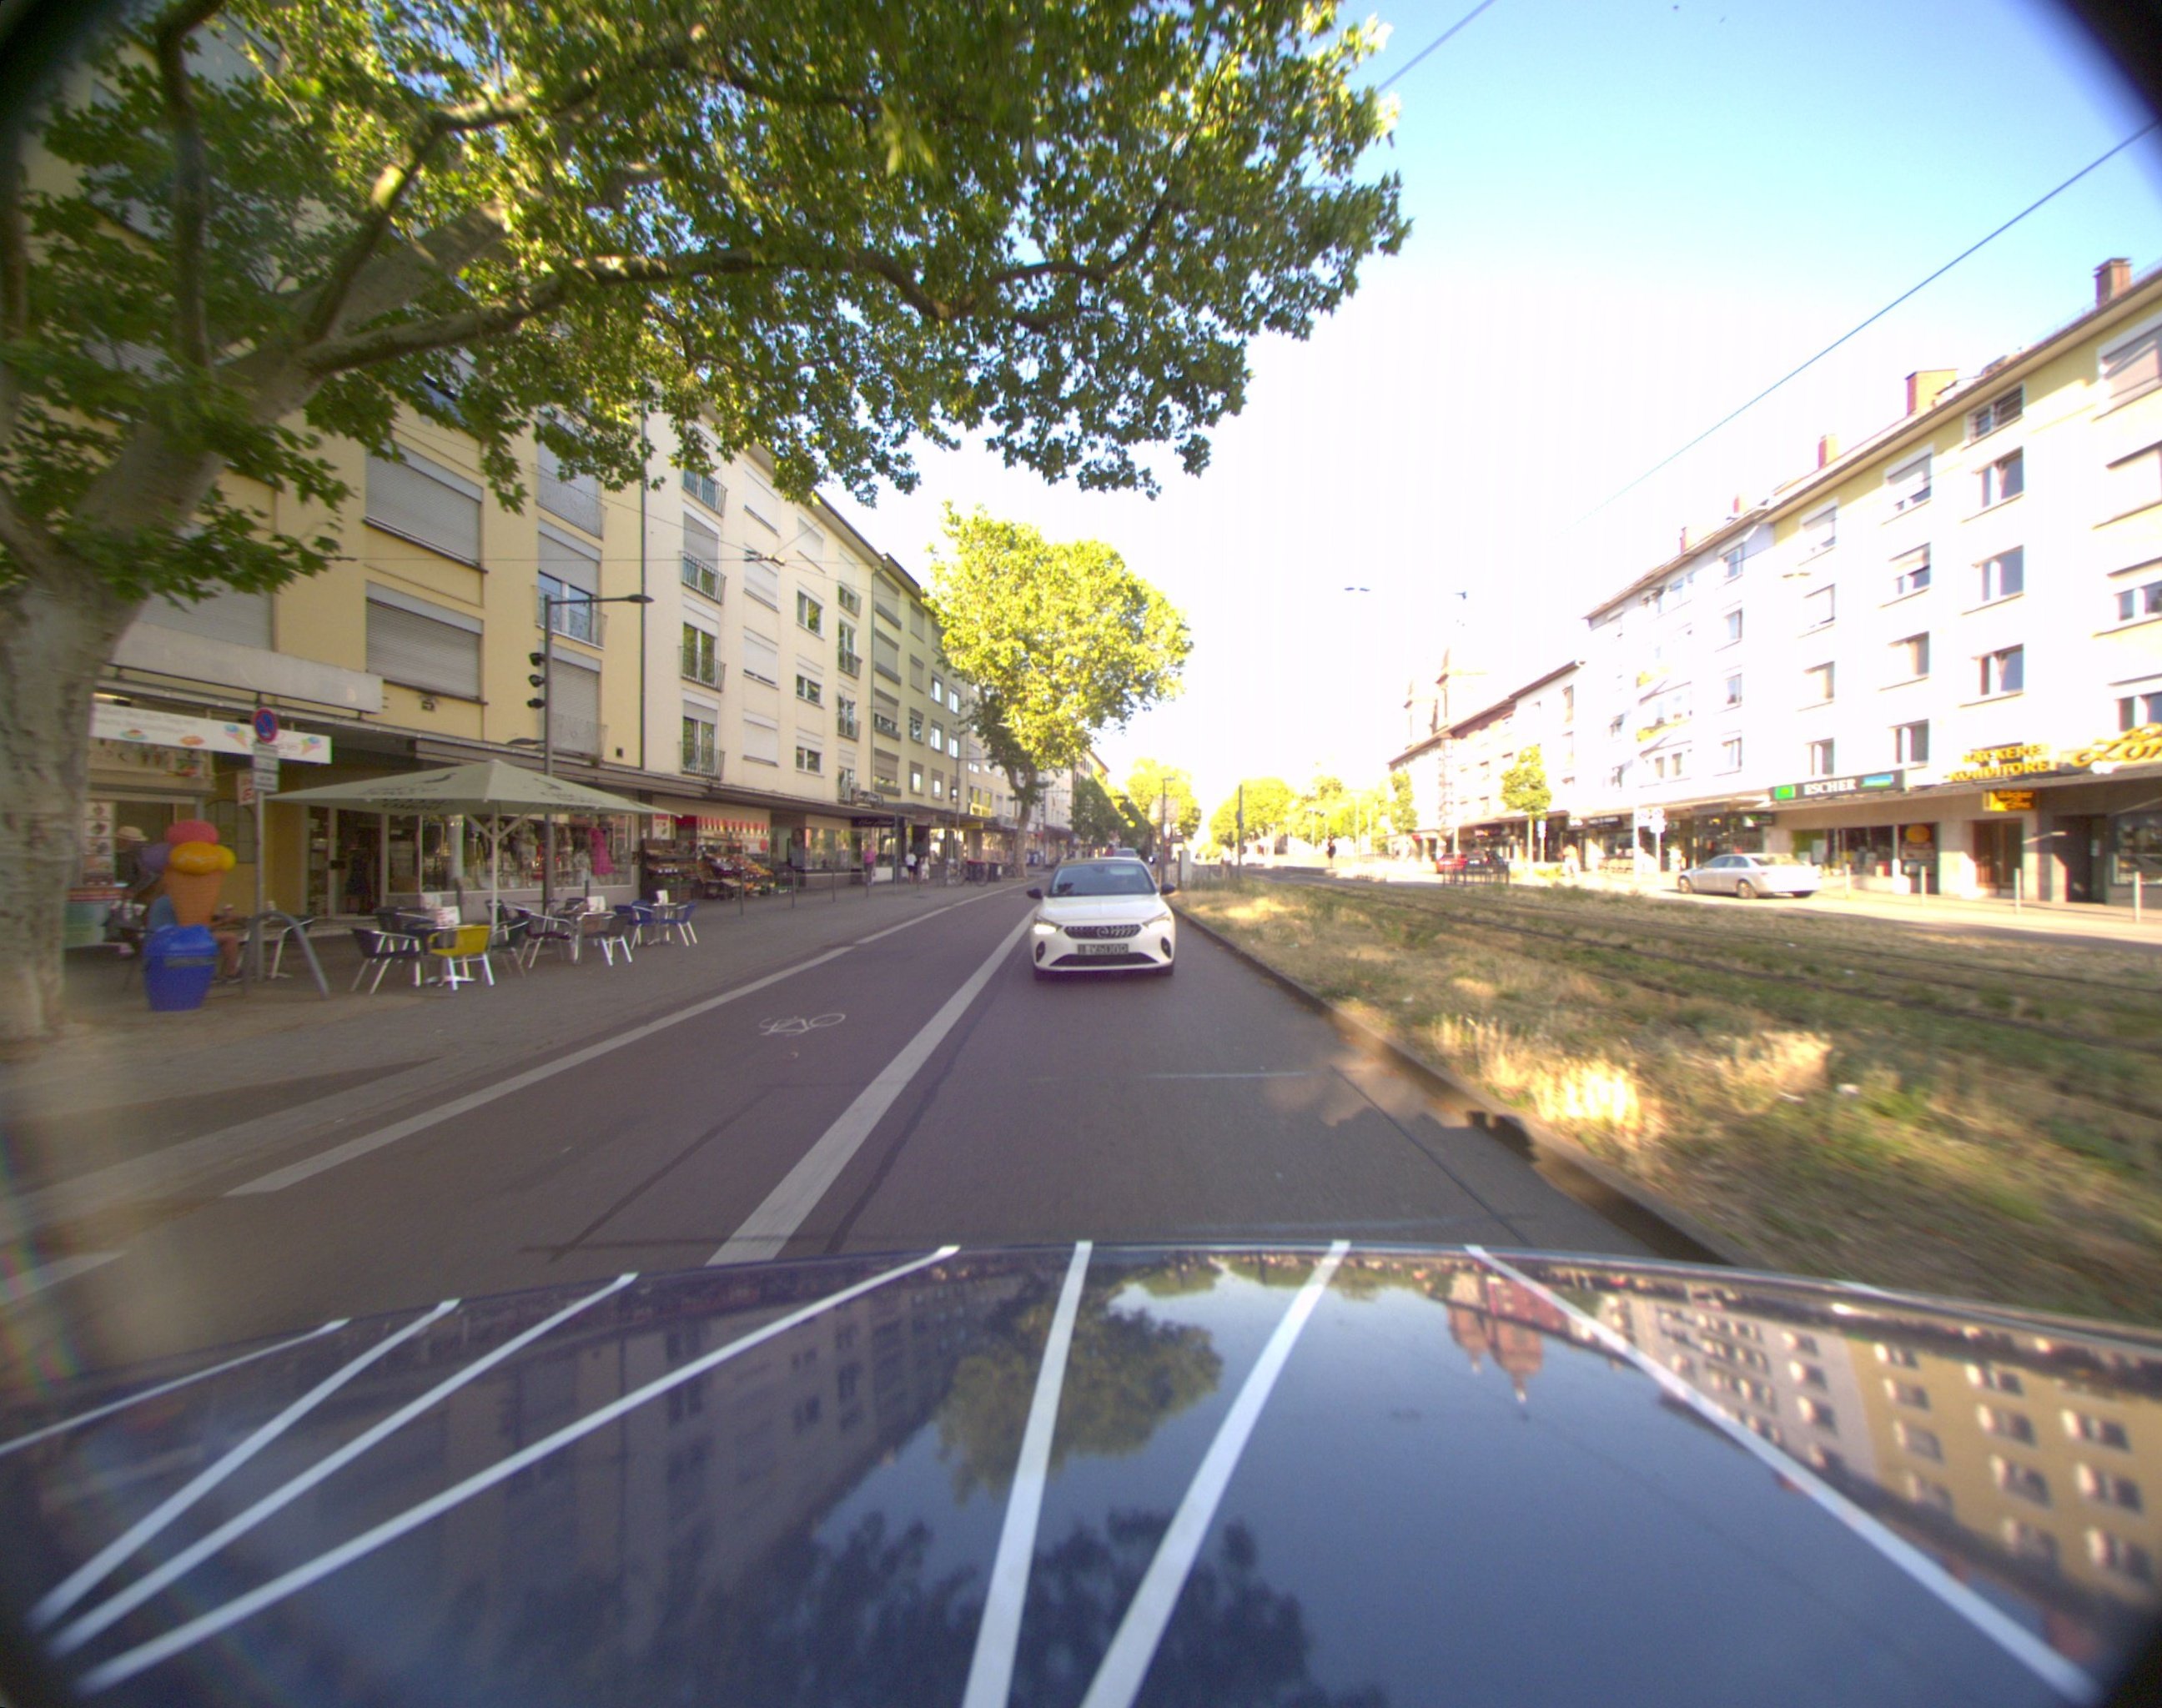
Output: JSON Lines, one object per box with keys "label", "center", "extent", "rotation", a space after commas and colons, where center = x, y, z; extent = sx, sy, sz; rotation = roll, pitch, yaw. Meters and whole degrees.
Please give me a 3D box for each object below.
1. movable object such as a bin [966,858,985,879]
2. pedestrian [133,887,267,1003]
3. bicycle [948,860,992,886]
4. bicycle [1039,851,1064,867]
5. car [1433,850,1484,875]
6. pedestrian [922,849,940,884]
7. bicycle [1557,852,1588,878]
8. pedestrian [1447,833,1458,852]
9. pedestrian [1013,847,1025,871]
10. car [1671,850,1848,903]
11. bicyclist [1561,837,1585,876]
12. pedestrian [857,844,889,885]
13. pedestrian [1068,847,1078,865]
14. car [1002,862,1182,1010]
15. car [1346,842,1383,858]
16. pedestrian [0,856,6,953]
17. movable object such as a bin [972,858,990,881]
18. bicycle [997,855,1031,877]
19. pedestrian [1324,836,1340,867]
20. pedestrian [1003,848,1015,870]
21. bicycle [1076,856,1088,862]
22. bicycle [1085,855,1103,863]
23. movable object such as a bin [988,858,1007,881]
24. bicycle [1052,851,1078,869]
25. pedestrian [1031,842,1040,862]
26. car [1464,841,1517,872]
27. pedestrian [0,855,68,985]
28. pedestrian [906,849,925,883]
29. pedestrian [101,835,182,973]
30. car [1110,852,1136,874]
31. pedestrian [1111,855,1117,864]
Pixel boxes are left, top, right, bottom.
{"label": "movable object such as a bin", "center": [-5.518, 0.755, 39.722], "extent": [0.722, 1.066, 0.645], "rotation": [2, 2, 26]}
{"label": "pedestrian", "center": [-9.947, 1.001, 8.608], "extent": [0.607, 1.218, 0.745], "rotation": [-1, 1, 1]}
{"label": "bicycle", "center": [-5.089, 0.874, 34.949], "extent": [1.909, 1.098, 0.519], "rotation": [2, 1, 14]}
{"label": "bicycle", "center": [-2.402, 0.411, 61.306], "extent": [1.795, 1.118, 0.663], "rotation": [4, 1, -19]}
{"label": "car", "center": [25.359, 0.567, 50.984], "extent": [3.777, 1.482, 1.859], "rotation": [-3, 1, -44]}
{"label": "pedestrian", "center": [-6.999, 0.563, 35.425], "extent": [0.636, 1.577, 0.627], "rotation": [2, 1, 6]}
{"label": "bicycle", "center": [25.142, 0.539, 38.938], "extent": [0.706, 1.152, 2.200], "rotation": [-3, 2, 16]}
{"label": "pedestrian", "center": [35.315, -1.099, 72.160], "extent": [0.743, 1.838, 0.590], "rotation": [0, 1, 2]}
{"label": "pedestrian", "center": [-4.247, 0.315, 52.045], "extent": [0.547, 1.619, 0.896], "rotation": [2, 0, 8]}
{"label": "car", "center": [21.745, 0.660, 24.648], "extent": [1.998, 1.469, 4.412], "rotation": [-2, 0, 5]}
{"label": "bicyclist", "center": [25.065, 0.108, 38.713], "extent": [0.693, 1.876, 1.058], "rotation": [-3, 2, 17]}
{"label": "pedestrian", "center": [-9.075, 0.456, 33.253], "extent": [0.969, 1.753, 1.134], "rotation": [1, 2, 8]}
{"label": "pedestrian", "center": [-0.786, 0.173, 76.742], "extent": [0.774, 1.789, 0.931], "rotation": [3, 1, 10]}
{"label": "car", "center": [0.139, 0.881, 9.851], "extent": [1.826, 1.433, 3.828], "rotation": [-2, 0, 1]}
{"label": "car", "center": [29.370, -0.423, 78.647], "extent": [4.007, 1.477, 1.739], "rotation": [-3, 1, -39]}
{"label": "pedestrian", "center": [-14.492, 0.668, 9.827], "extent": [0.426, 1.289, 0.508], "rotation": [0, 1, 5]}
{"label": "movable object such as a bin", "center": [-5.114, 0.798, 38.895], "extent": [0.723, 1.066, 0.644], "rotation": [6, 2, 5]}
{"label": "bicycle", "center": [-3.626, 0.641, 41.231], "extent": [1.721, 1.111, 0.745], "rotation": [0, 4, 8]}
{"label": "pedestrian", "center": [14.911, -0.137, 45.146], "extent": [0.743, 1.838, 0.590], "rotation": [0, 1, 2]}
{"label": "pedestrian", "center": [-4.967, 0.363, 52.355], "extent": [0.541, 1.493, 0.896], "rotation": [2, 0, 8]}
{"label": "bicycle", "center": [0.110, 0.523, 81.543], "extent": [0.840, 0.569, 1.758], "rotation": [1, 0, -14]}
{"label": "bicycle", "center": [1.364, 0.518, 81.344], "extent": [1.762, 0.773, 0.702], "rotation": [1, 0, -14]}
{"label": "movable object such as a bin", "center": [-4.295, 0.804, 38.914], "extent": [0.723, 1.096, 0.645], "rotation": [4, 2, 14]}
{"label": "bicycle", "center": [-1.271, 0.461, 60.104], "extent": [1.788, 1.304, 0.695], "rotation": [6, 2, 20]}
{"label": "pedestrian", "center": [-4.003, -0.188, 66.730], "extent": [0.569, 1.665, 1.070], "rotation": [2, 1, 8]}
{"label": "car", "center": [25.801, 0.150, 47.828], "extent": [3.777, 1.789, 1.859], "rotation": [-3, 1, -44]}
{"label": "pedestrian", "center": [-13.178, 0.798, 9.442], "extent": [0.625, 1.538, 0.638], "rotation": [4, 3, 31]}
{"label": "pedestrian", "center": [-7.704, 0.543, 35.367], "extent": [0.623, 1.577, 0.627], "rotation": [2, 1, 6]}
{"label": "pedestrian", "center": [-12.730, 0.650, 10.297], "extent": [0.635, 1.793, 0.628], "rotation": [1, 1, 37]}
{"label": "car", "center": [2.950, 0.583, 52.812], "extent": [1.718, 1.390, 4.001], "rotation": [-2, 1, 4]}
{"label": "pedestrian", "center": [5.808, 0.954, 132.885], "extent": [0.851, 1.645, 0.916], "rotation": [-2, 1, 8]}
